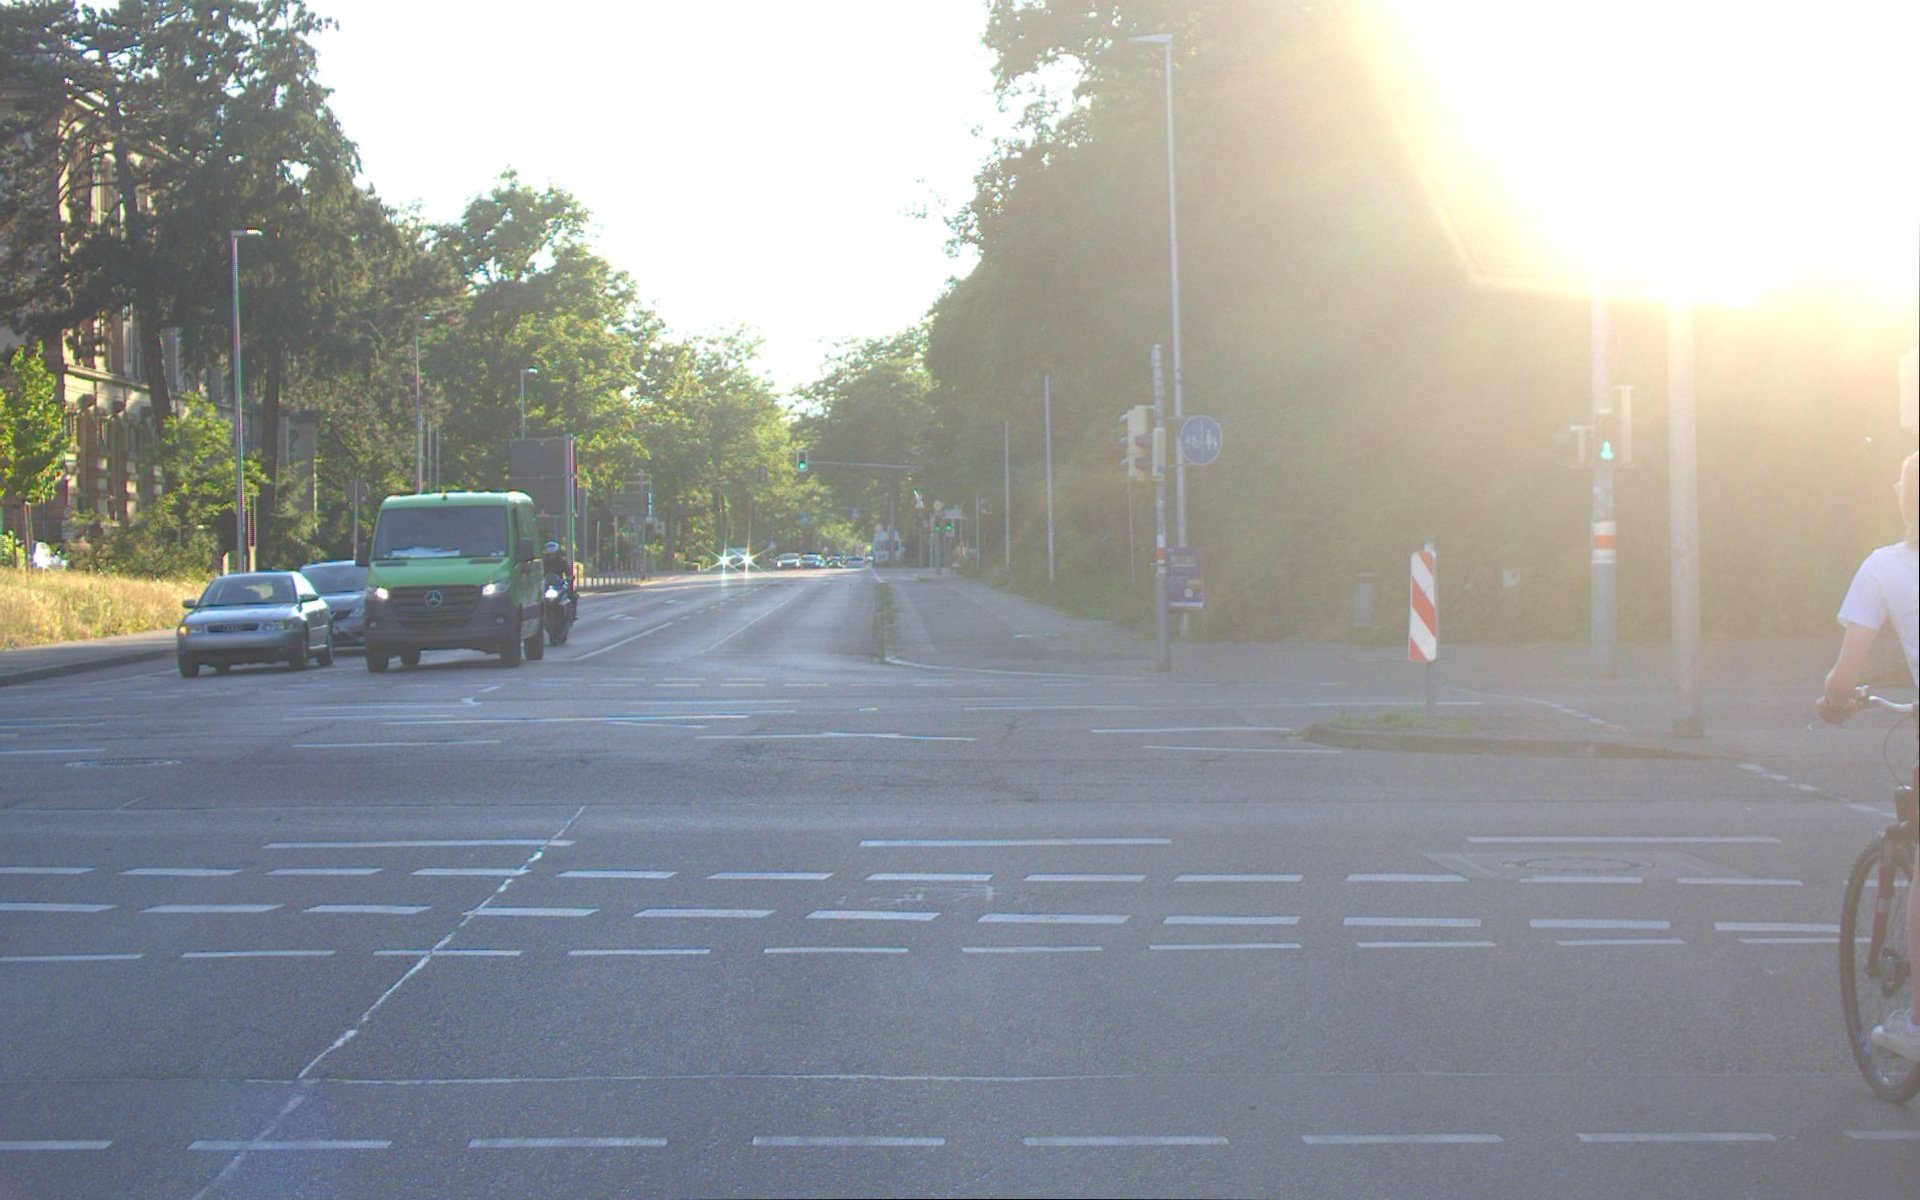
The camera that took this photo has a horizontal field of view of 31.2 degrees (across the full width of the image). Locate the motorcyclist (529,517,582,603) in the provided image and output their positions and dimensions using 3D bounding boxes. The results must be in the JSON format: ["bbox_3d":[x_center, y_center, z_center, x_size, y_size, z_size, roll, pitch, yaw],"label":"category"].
[{"bbox_3d":[-6.498,-0.638,55.189,0.749,1.353,0.704,-1,0,-1],"label":"motorcyclist"}]

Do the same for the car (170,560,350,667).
[{"bbox_3d":[-9.814,0.162,48.462,1.730,1.404,4.140,-1,1,-1],"label":"car"}]

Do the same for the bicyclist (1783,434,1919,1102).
[{"bbox_3d":[2.472,0.392,8.578,0.603,1.580,0.910,0,1,-1],"label":"bicyclist"}]

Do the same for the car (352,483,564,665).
[{"bbox_3d":[-6.689,-0.372,46.453,2.038,2.270,5.941,-1,1,-1],"label":"car"}]

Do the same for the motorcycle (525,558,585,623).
[{"bbox_3d":[-6.494,-0.162,55.207,0.754,0.998,1.879,-1,1,-1],"label":"motorcycle"}]

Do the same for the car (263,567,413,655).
[{"bbox_3d":[-9.952,0.151,55.218,1.764,1.323,3.643,-1,1,-1],"label":"car"}]

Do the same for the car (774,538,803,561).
[{"bbox_3d":[-12.482,-3.653,249.591,1.993,1.634,4.001,-1,1,-4],"label":"car"}]

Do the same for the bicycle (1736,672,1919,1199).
[{"bbox_3d":[2.472,0.780,8.590,0.613,1.134,1.884,0,1,-1],"label":"bicycle"}]

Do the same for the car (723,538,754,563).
[{"bbox_3d":[-13.318,-2.985,206.360,1.770,1.469,3.777,-1,1,-5],"label":"car"}]
